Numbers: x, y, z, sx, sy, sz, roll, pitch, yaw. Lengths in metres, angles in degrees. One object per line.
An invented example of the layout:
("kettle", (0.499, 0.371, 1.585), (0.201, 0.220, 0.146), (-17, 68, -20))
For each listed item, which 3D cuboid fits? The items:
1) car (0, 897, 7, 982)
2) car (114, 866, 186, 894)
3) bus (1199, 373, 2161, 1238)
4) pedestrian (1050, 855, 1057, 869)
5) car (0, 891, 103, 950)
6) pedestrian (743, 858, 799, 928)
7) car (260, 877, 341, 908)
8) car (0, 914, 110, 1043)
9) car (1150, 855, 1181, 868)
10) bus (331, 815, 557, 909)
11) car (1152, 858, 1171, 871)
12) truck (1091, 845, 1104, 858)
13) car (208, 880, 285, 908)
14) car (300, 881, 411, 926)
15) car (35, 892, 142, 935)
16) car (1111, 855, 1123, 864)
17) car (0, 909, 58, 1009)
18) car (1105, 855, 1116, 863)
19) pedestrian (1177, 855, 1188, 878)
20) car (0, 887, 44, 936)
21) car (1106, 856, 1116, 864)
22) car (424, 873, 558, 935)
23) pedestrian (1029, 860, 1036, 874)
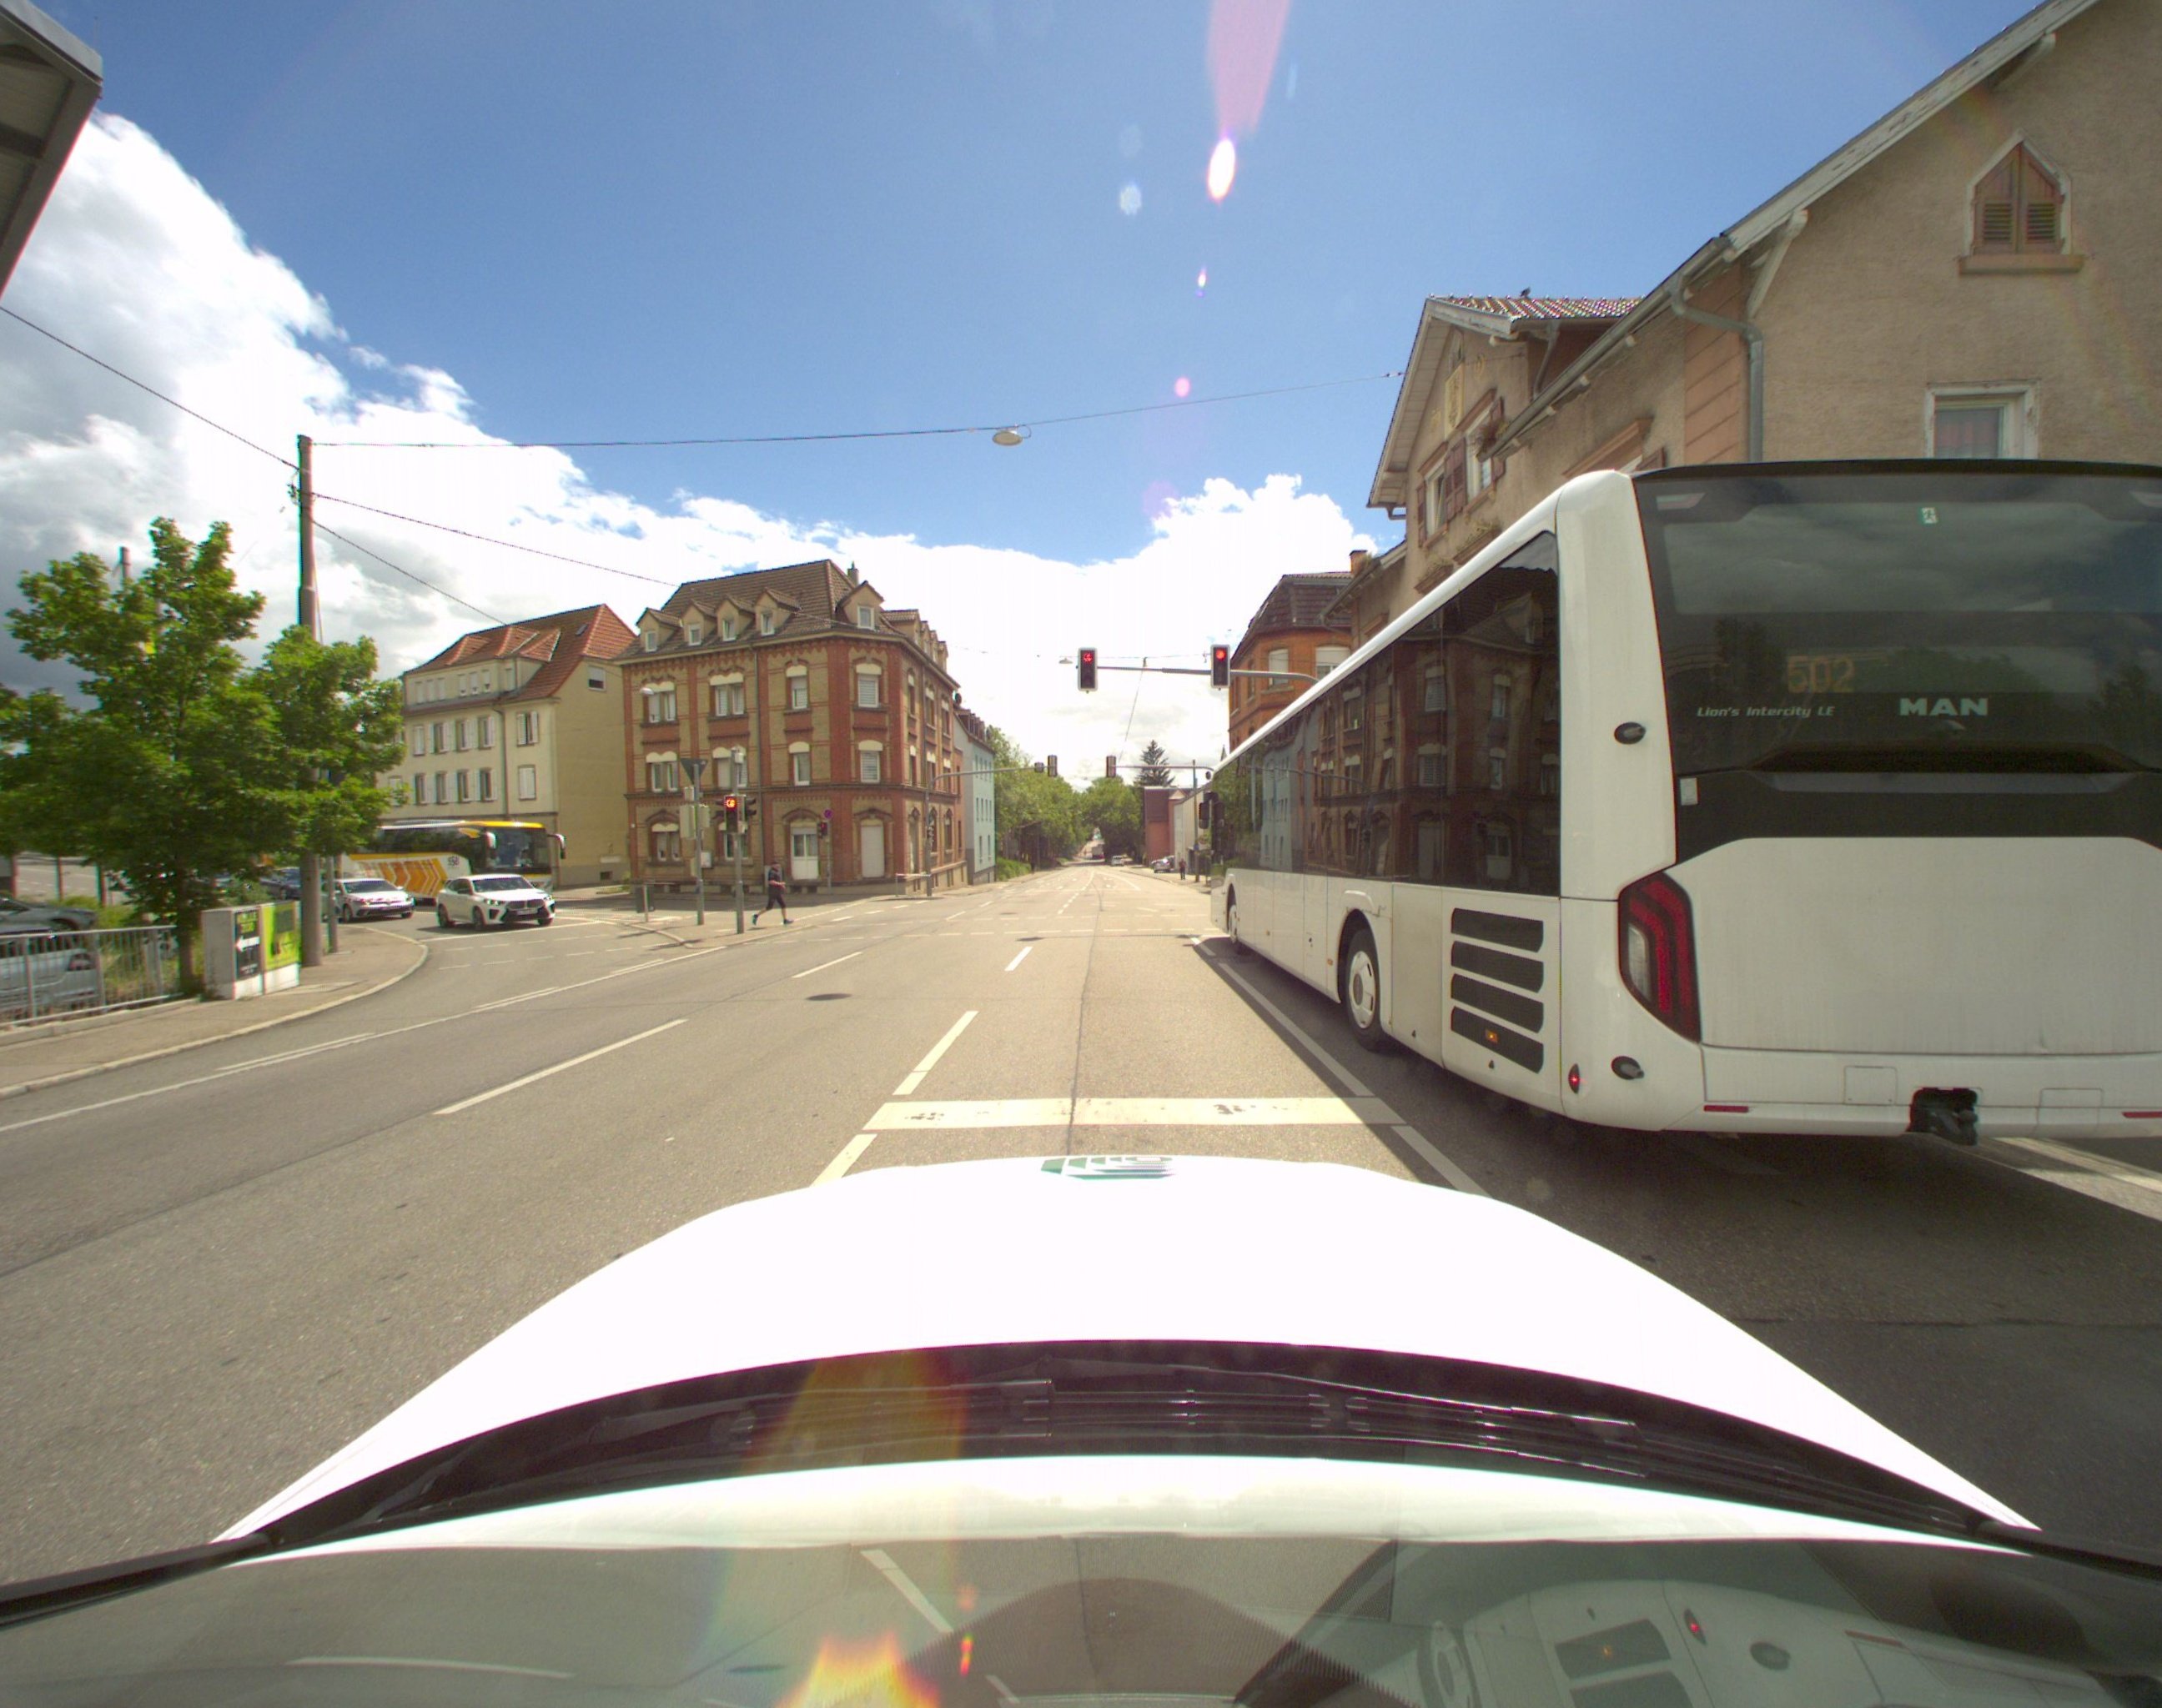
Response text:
("car", (-23.495, 1.760, 16.457), (3.455, 1.680, 1.663), (-1, 2, 30))
("car", (-53.717, 1.500, 46.976), (3.949, 1.554, 1.923), (-2, 0, 29))
("bus", (3.410, -0.171, 9.255), (2.662, 3.155, 12.467), (-2, 0, 2))
("pedestrian", (-4.132, 1.203, 123.345), (0.991, 2.013, 1.189), (-2, 0, 1))
("car", (-29.503, 1.848, 22.126), (1.777, 1.477, 3.522), (-2, 0, 32))
("pedestrian", (-7.968, 0.992, 20.962), (1.138, 1.734, 0.758), (-2, 0, -3))
("car", (-39.105, 1.929, 40.804), (3.949, 1.409, 1.762), (-2, 0, 28))
("car", (-16.060, 1.801, 12.049), (3.321, 1.560, 1.692), (0, 2, 32))
("car", (11.768, 1.032, 113.079), (3.978, 1.757, 1.998), (-2, 0, -3))
("bus", (-27.827, 0.434, 35.325), (12.110, 3.622, 2.788), (-1, 0, 27))
("car", (9.223, 1.165, 93.023), (1.788, 1.409, 4.000), (-2, 0, 1))
("truck", (4.198, -0.586, 209.685), (2.917, 3.081, 7.883), (-2, 0, 0))
("car", (-45.715, 2.157, 44.606), (3.949, 1.409, 1.923), (-2, 0, 29))
("car", (-25.194, 1.688, 28.273), (3.574, 1.418, 1.896), (-2, 0, 31))
("car", (-37.559, 2.227, 30.812), (3.456, 1.448, 1.811), (-2, 0, 26))
("car", (5.765, 0.936, 129.580), (1.787, 1.409, 4.001), (-1, 0, 1))
("car", (-19.594, 1.844, 14.187), (3.455, 1.526, 1.626), (-1, 2, 29))
("car", (5.284, 0.973, 146.026), (1.787, 1.409, 4.421), (-1, 0, 3))
("pedestrian", (7.970, 0.980, 64.065), (0.736, 1.750, 0.619), (-2, 0, 1))
("car", (-36.237, 1.898, 25.701), (1.785, 1.553, 4.023), (-2, 0, 25))
("car", (5.735, 1.108, 154.020), (1.787, 1.409, 4.421), (-1, 0, 3))
("car", (-17.666, 1.409, 24.344), (4.251, 1.551, 1.845), (0, 2, 34))
("pedestrian", (-5.553, 1.489, 92.546), (0.727, 1.565, 0.561), (-1, -1, 0))
